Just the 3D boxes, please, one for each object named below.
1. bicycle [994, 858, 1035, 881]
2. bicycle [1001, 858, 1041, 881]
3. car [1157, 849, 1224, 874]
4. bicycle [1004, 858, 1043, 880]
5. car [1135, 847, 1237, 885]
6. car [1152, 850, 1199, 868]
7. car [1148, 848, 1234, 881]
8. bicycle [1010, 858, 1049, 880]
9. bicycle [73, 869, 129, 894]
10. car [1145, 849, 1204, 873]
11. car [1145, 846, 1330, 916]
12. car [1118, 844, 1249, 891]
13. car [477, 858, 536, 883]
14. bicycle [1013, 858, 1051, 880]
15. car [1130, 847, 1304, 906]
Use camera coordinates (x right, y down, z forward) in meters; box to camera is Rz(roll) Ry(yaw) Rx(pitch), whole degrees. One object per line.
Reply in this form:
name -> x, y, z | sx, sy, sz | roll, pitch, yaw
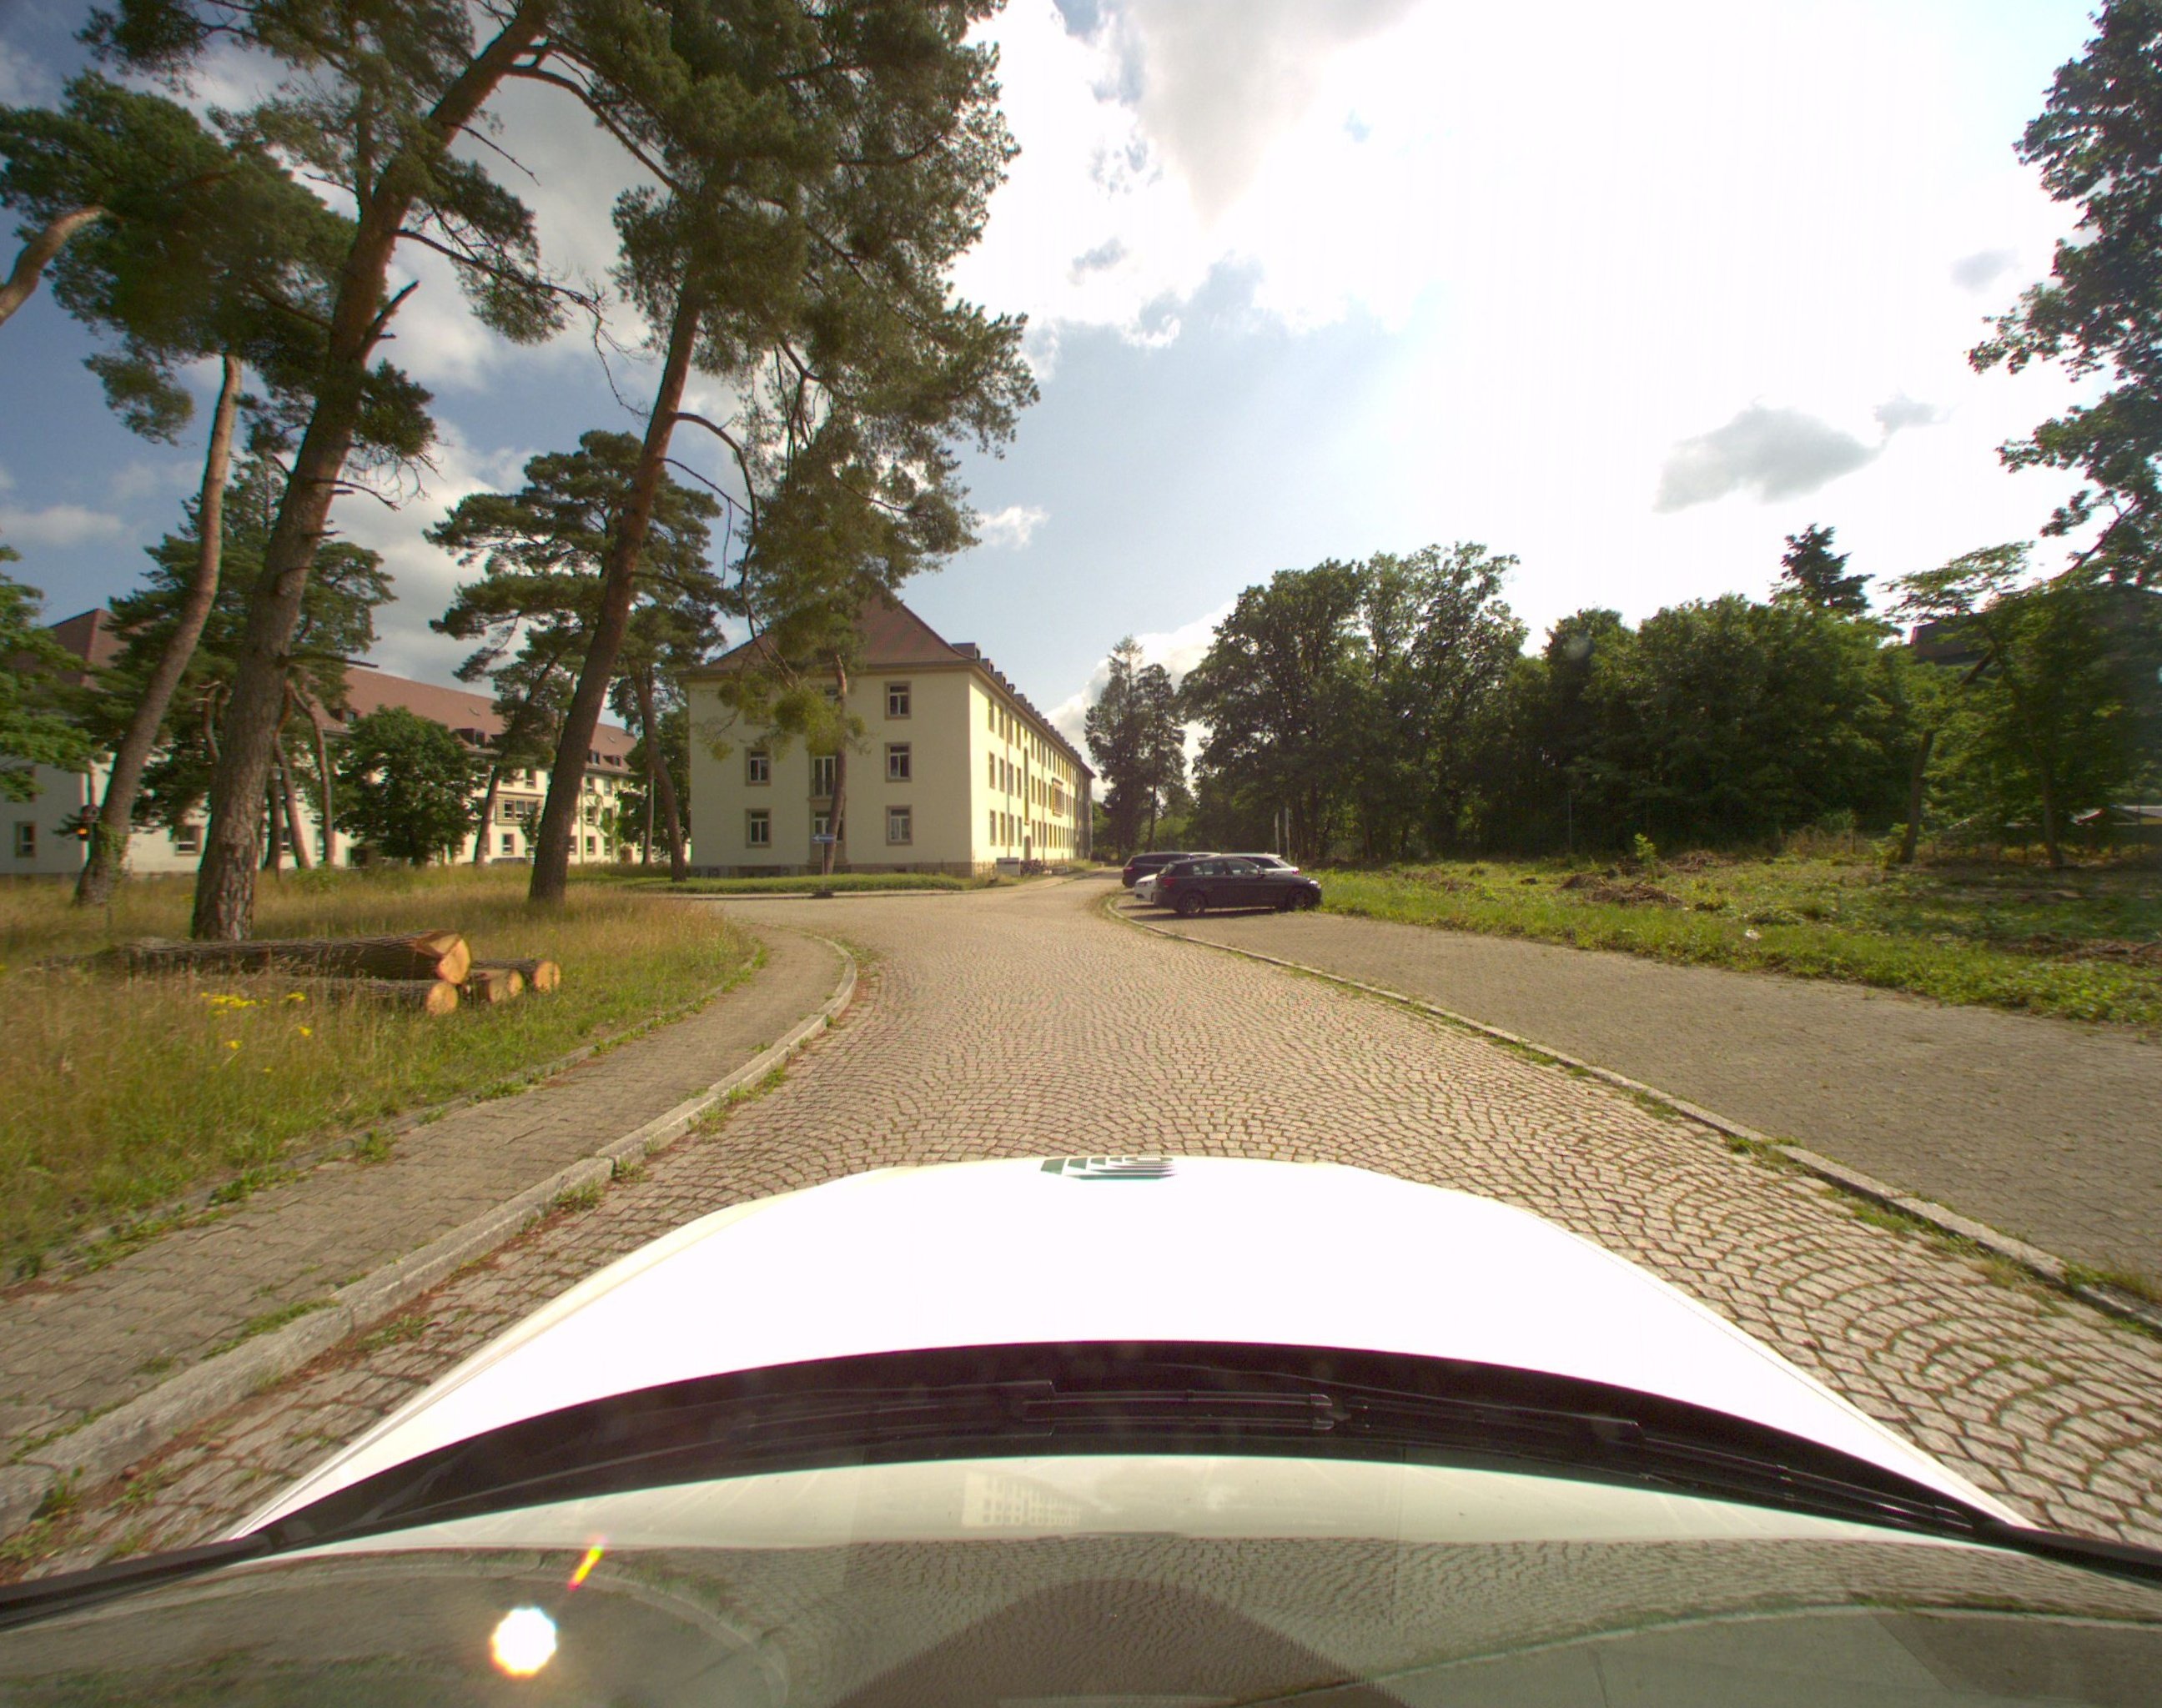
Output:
bicycle -> -3.786, 0.892, 46.556 | 2.207, 1.260, 0.625 | -1, 0, 12
bicycle -> -3.469, 0.913, 47.315 | 2.209, 1.260, 0.624 | -1, 0, 8
car -> 7.225, 0.484, 53.912 | 4.243, 1.484, 1.824 | -2, -1, 7
bicycle -> -3.391, 0.888, 48.269 | 2.207, 1.260, 0.625 | -1, 0, 12
car -> 4.670, 0.551, 36.633 | 4.378, 1.484, 1.768 | -2, -1, 4
car -> 8.547, 0.442, 73.423 | 4.164, 1.484, 1.824 | -2, -1, 7
car -> 5.586, 0.539, 41.316 | 4.184, 1.484, 1.824 | -2, -1, 7
bicycle -> -3.114, 0.910, 49.055 | 2.209, 1.260, 0.624 | -1, 0, 8
bicycle -> -45.675, 1.283, 37.980 | 0.486, 1.100, 1.593 | -1, 0, 18
car -> 6.809, 0.519, 59.387 | 4.164, 1.543, 1.824 | -2, -1, 7
car -> 3.894, 0.639, 20.778 | 4.313, 1.500, 1.828 | -3, 1, -2
car -> 3.894, 0.515, 31.361 | 4.830, 1.552, 1.882 | -2, -1, 4
car -> -49.393, 1.414, 70.052 | 4.038, 1.991, 1.716 | -1, 0, 6
bicycle -> -3.023, 0.911, 50.062 | 2.209, 1.260, 0.624 | -1, 0, 8
car -> 3.904, 0.631, 23.962 | 4.840, 1.472, 1.877 | -2, 1, 4
